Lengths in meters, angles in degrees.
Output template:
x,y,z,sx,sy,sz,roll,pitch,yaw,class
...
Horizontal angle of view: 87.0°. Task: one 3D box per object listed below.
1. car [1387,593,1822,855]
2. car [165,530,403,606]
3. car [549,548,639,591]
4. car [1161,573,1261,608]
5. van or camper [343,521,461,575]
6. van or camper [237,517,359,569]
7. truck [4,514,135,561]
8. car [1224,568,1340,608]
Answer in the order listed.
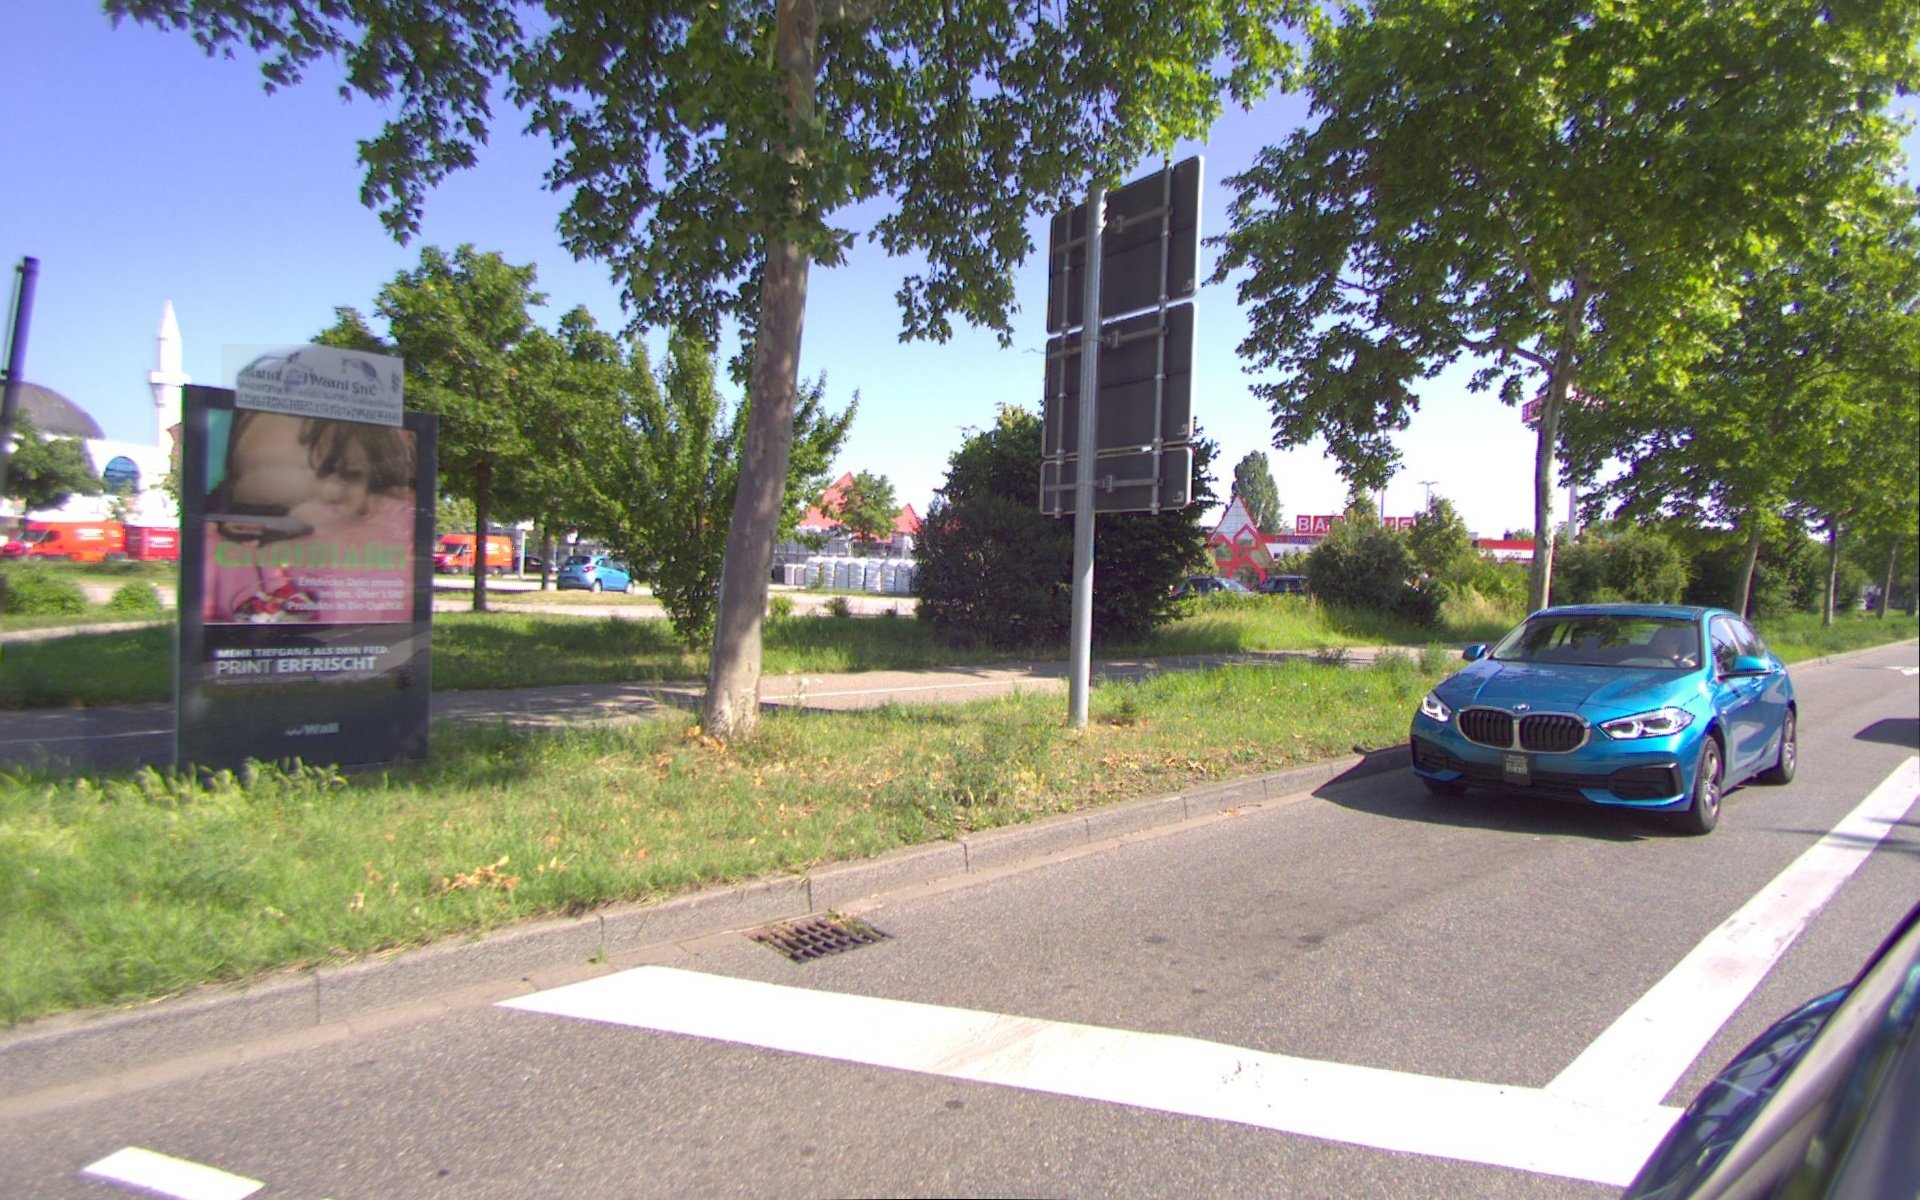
x,y,z,sx,sy,sz,roll,pitch,yaw,class
5.123,0.689,7.810,4.061,1.437,1.870,0,2,-43,car
-14.152,-0.624,21.483,1.879,1.438,3.981,0,0,16,car
-13.849,-1.116,38.470,1.521,1.552,3.470,0,0,16,car
9.553,-0.371,38.734,1.583,1.263,3.528,-1,0,-38,car
-33.720,-3.044,61.529,1.970,2.979,7.259,0,0,13,van or camper
-42.305,-3.544,64.995,1.970,2.979,7.259,0,0,13,van or camper
-52.512,-3.614,59.858,1.970,2.443,5.758,0,0,14,truck
12.784,-0.482,40.369,1.963,1.501,3.997,-1,0,-38,car
